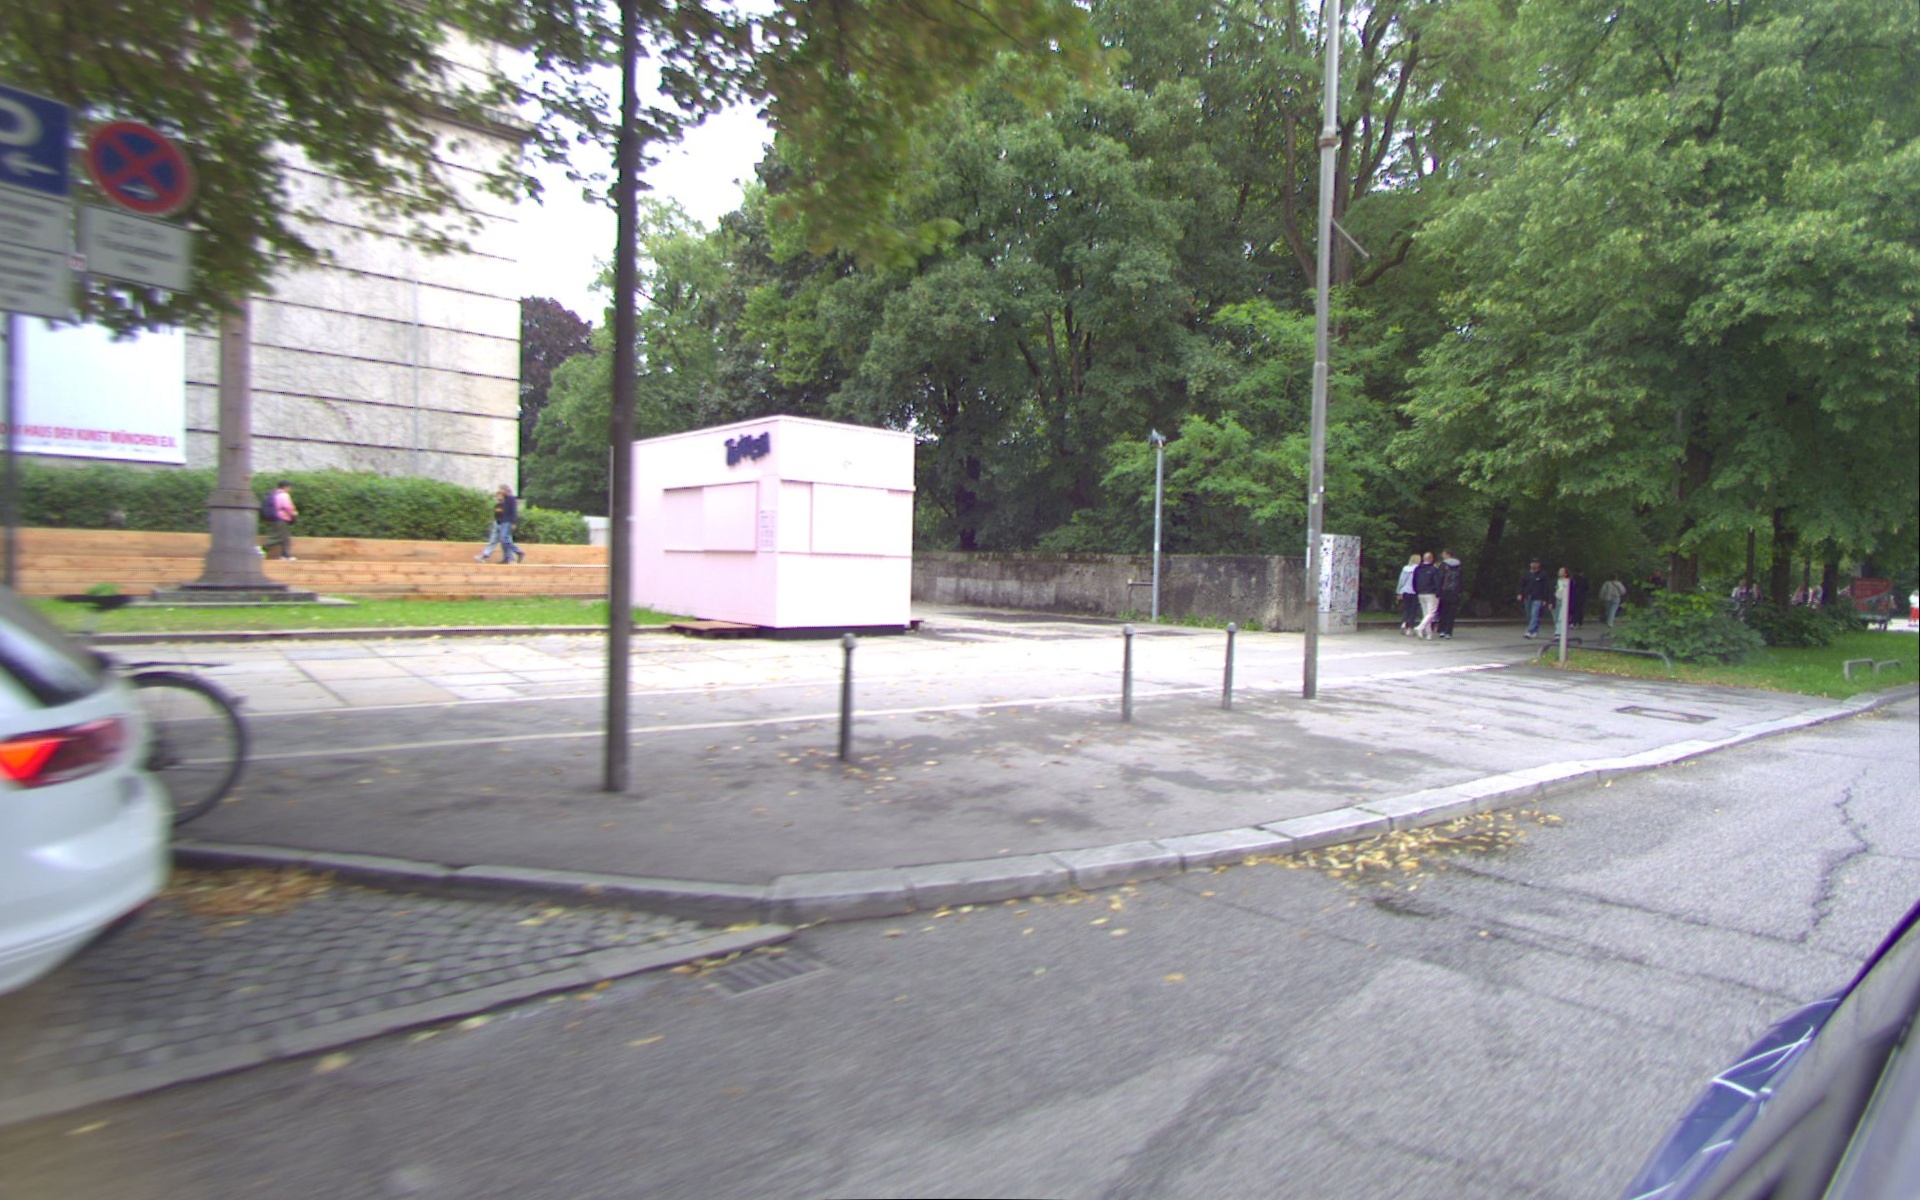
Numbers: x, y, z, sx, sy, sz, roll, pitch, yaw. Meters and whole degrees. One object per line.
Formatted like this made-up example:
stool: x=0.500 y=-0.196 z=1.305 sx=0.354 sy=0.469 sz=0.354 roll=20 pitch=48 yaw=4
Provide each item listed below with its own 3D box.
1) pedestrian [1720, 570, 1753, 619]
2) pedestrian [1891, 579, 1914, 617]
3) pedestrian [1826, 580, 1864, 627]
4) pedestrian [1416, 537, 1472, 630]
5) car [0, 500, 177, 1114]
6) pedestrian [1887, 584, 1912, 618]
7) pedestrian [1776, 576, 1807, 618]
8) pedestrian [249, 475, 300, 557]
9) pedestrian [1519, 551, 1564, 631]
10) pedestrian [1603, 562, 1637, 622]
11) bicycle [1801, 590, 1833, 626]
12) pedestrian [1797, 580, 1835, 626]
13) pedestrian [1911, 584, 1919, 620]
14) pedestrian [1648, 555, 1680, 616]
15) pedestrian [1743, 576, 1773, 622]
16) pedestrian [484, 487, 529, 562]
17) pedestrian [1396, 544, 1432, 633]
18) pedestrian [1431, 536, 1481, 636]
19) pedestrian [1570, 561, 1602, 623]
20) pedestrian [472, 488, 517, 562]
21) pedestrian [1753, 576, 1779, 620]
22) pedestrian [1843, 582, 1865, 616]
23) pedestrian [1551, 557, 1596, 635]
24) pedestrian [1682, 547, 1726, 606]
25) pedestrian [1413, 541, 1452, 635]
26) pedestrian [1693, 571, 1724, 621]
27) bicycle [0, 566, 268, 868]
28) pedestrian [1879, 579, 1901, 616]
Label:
pedestrian: x=25.552 y=-0.185 z=33.312 sx=0.857 sy=1.585 sz=0.682 roll=0 pitch=1 yaw=-40
pedestrian: x=48.525 y=-0.126 z=52.113 sx=0.678 sy=1.938 sz=0.612 roll=0 pitch=0 yaw=-24
pedestrian: x=31.878 y=0.107 z=36.469 sx=0.832 sy=1.664 sz=0.758 roll=0 pitch=0 yaw=-25
pedestrian: x=10.984 y=-0.391 z=22.985 sx=0.763 sy=2.037 sz=0.765 roll=0 pitch=5 yaw=-40
car: x=-4.525 y=0.494 z=1.985 sx=4.667 sy=1.568 sz=1.832 roll=0 pitch=3 yaw=-40
pedestrian: x=45.779 y=0.044 z=49.326 sx=0.683 sy=1.672 sz=0.608 roll=1 pitch=0 yaw=17
pedestrian: x=33.680 y=-0.117 z=41.000 sx=0.676 sy=1.664 sz=0.758 roll=0 pitch=0 yaw=-25
pedestrian: x=-13.056 y=-1.578 z=19.266 sx=0.757 sy=1.513 sz=0.488 roll=0 pitch=1 yaw=-40
pedestrian: x=13.243 y=-0.203 z=23.037 sx=0.782 sy=1.785 sz=0.609 roll=0 pitch=1 yaw=-37
pedestrian: x=19.933 y=-0.242 z=30.560 sx=0.767 sy=1.796 sz=0.632 roll=0 pitch=1 yaw=-37
bicycle: x=25.564 y=0.235 z=30.178 sx=2.042 sy=1.034 sz=0.385 roll=0 pitch=1 yaw=-41
pedestrian: x=31.538 y=0.089 z=37.283 sx=0.832 sy=1.664 sz=0.758 roll=0 pitch=0 yaw=-25
pedestrian: x=45.874 y=0.091 z=48.170 sx=0.636 sy=1.712 sz=0.728 roll=0 pitch=1 yaw=-36
pedestrian: x=21.449 y=-0.437 z=30.842 sx=0.835 sy=1.845 sz=0.589 roll=0 pitch=1 yaw=-40
pedestrian: x=26.743 y=-0.046 z=33.925 sx=0.552 sy=1.534 sz=0.682 roll=0 pitch=1 yaw=-40
pedestrian: x=-9.512 y=-1.574 z=21.220 sx=0.757 sy=1.513 sz=0.488 roll=0 pitch=1 yaw=-40
pedestrian: x=9.638 y=-0.254 z=21.480 sx=0.590 sy=1.830 sz=0.718 roll=4 pitch=3 yaw=25
pedestrian: x=10.421 y=-0.298 z=21.271 sx=0.711 sy=2.038 sz=0.596 roll=0 pitch=4 yaw=-40
pedestrian: x=17.317 y=-0.233 z=27.994 sx=0.543 sy=1.696 sz=0.582 roll=0 pitch=0 yaw=-37
pedestrian: x=-9.921 y=-1.584 z=21.574 sx=0.757 sy=1.513 sz=0.488 roll=0 pitch=1 yaw=-40
pedestrian: x=35.443 y=-0.094 z=44.516 sx=0.683 sy=1.896 sz=0.609 roll=1 pitch=0 yaw=14
pedestrian: x=51.874 y=-0.072 z=58.719 sx=0.715 sy=1.941 sz=0.814 roll=0 pitch=1 yaw=-38
pedestrian: x=13.652 y=-0.090 z=22.522 sx=0.740 sy=1.702 sz=0.609 roll=0 pitch=1 yaw=-37
pedestrian: x=22.392 y=-0.708 z=30.458 sx=0.832 sy=1.759 sz=0.758 roll=0 pitch=0 yaw=-25
pedestrian: x=9.521 y=-0.250 z=20.398 sx=0.590 sy=1.830 sz=0.718 roll=4 pitch=3 yaw=25
pedestrian: x=25.737 y=-0.138 z=34.790 sx=0.590 sy=1.657 sz=0.682 roll=0 pitch=3 yaw=-40
bicycle: x=-4.439 y=0.479 z=4.159 sx=2.574 sy=1.246 sz=0.629 roll=0 pitch=1 yaw=-43
pedestrian: x=48.008 y=-0.126 z=52.238 sx=0.678 sy=1.896 sz=0.612 roll=0 pitch=0 yaw=-24
